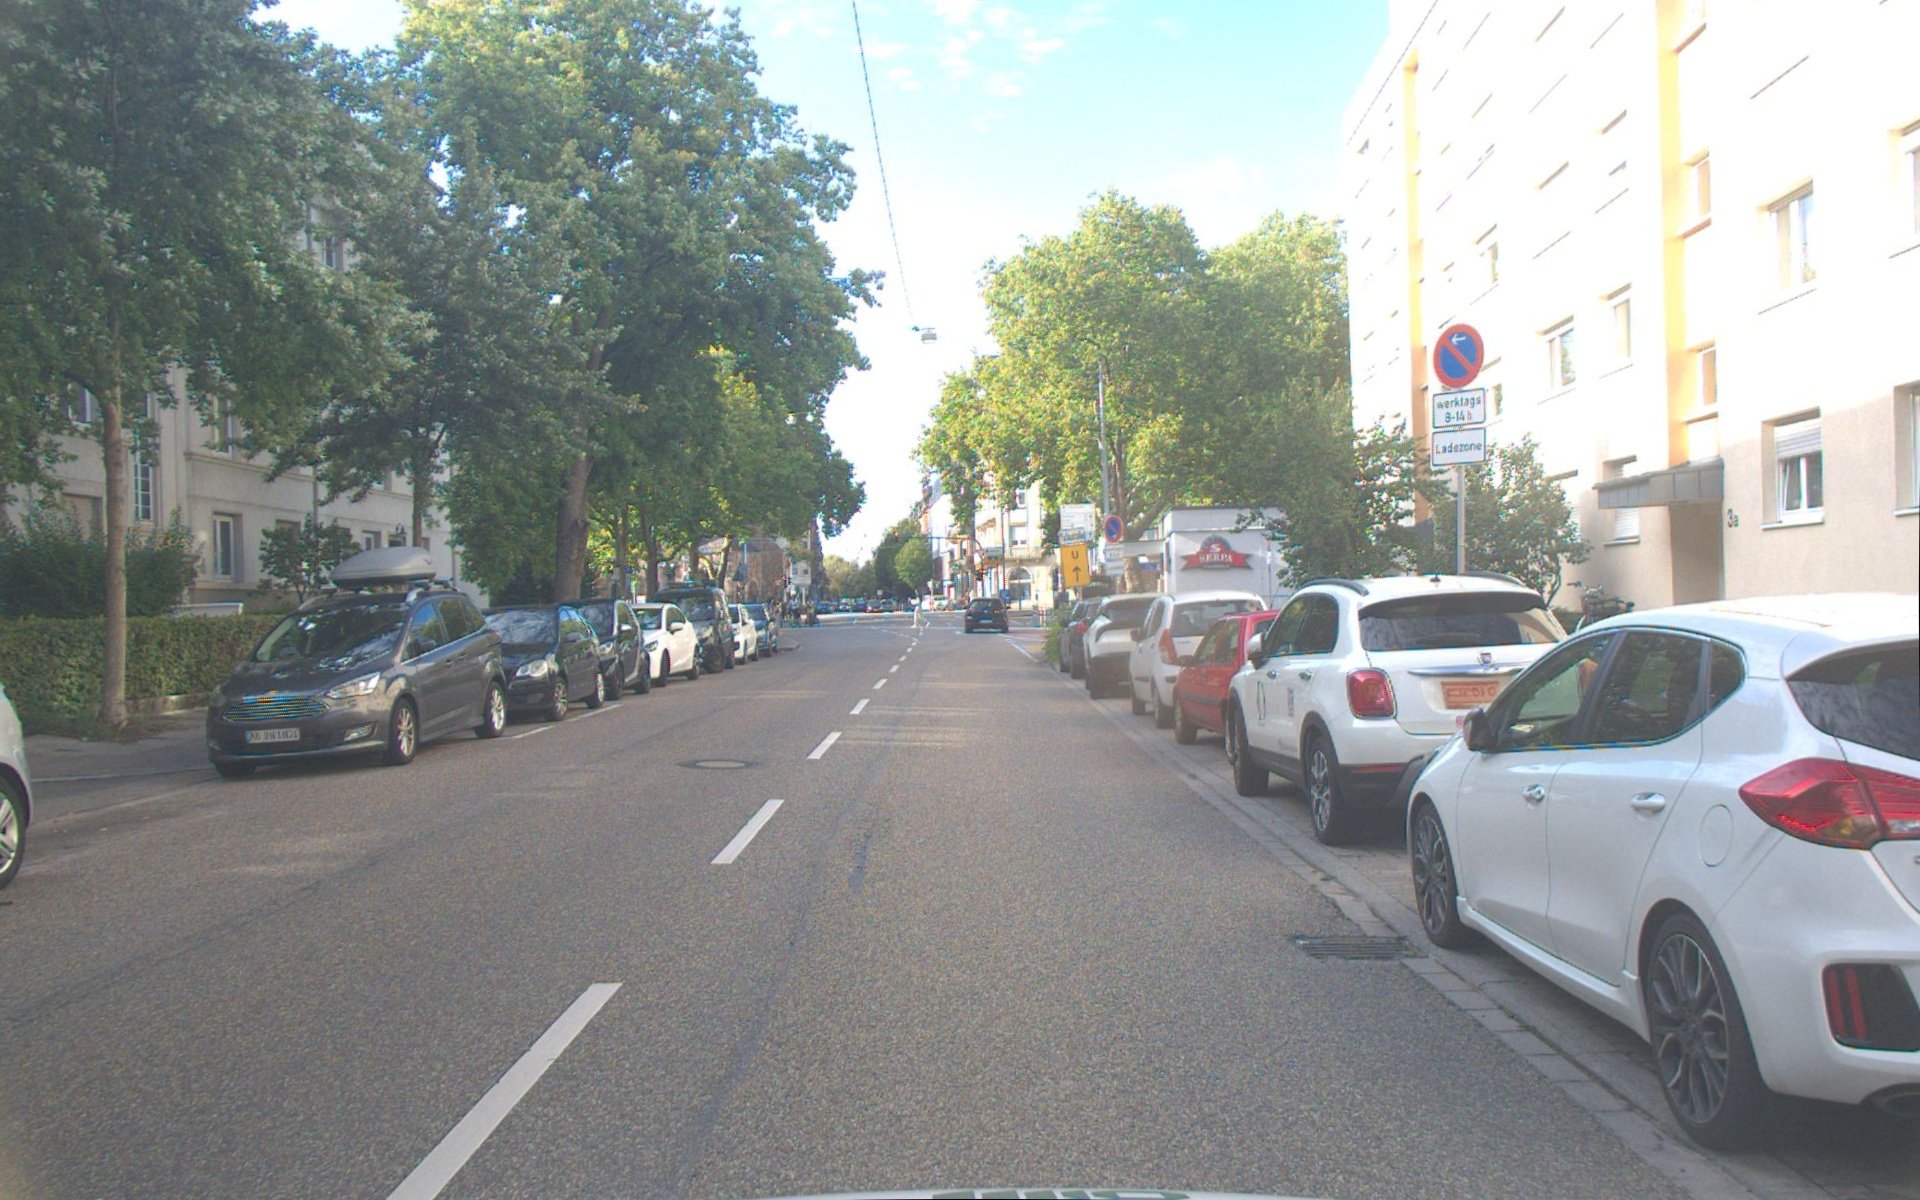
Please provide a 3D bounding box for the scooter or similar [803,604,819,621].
[{"bbox_3d":[-8.443,0.686,93.685,0.789,0.939,1.014,-1,0,-2],"label":"scooter or similar"}]

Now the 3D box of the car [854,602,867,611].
[{"bbox_3d":[-15.051,1.005,250.413,1.742,1.251,3.587,-1,0,-1],"label":"car"}]

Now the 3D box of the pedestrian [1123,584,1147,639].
[{"bbox_3d":[5.369,0.340,50.723,0.639,1.674,0.743,-1,0,0],"label":"pedestrian"}]

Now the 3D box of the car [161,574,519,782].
[{"bbox_3d":[-6.003,0.667,16.669,1.762,1.697,4.483,-4,0,1],"label":"car"}]

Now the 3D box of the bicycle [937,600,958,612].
[{"bbox_3d":[-1.222,0.574,165.423,1.988,1.101,0.628,-2,0,-14],"label":"bicycle"}]

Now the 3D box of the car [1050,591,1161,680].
[{"bbox_3d":[2.757,0.646,32.216,1.656,1.555,4.236,-2,0,-1],"label":"car"}]

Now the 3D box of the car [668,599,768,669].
[{"bbox_3d":[-5.954,0.803,41.101,1.762,1.519,3.803,-4,0,1],"label":"car"}]

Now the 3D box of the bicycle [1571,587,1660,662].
[{"bbox_3d":[10.491,0.377,26.555,0.518,1.134,2.209,-2,0,0],"label":"bicycle"}]

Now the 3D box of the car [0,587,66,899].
[{"bbox_3d":[-5.914,0.812,7.347,1.704,1.648,3.993,-4,0,-2],"label":"car"}]

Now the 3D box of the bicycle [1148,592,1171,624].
[{"bbox_3d":[8.233,0.324,68.241,0.752,1.227,1.816,-3,0,3],"label":"bicycle"}]

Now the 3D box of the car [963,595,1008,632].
[{"bbox_3d":[1.030,0.540,67.824,1.716,1.438,3.999,-1,0,-1],"label":"car"}]

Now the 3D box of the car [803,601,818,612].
[{"bbox_3d":[-19.003,0.818,210.171,1.519,1.251,3.587,-1,0,-1],"label":"car"}]

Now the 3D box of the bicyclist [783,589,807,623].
[{"bbox_3d":[-8.521,0.321,85.482,0.795,1.721,1.113,-1,0,20],"label":"bicyclist"}]

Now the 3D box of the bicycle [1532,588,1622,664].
[{"bbox_3d":[9.883,0.399,26.560,0.585,1.134,2.209,-3,0,0],"label":"bicycle"}]

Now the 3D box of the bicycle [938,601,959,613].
[{"bbox_3d":[-1.183,0.671,164.791,1.988,1.101,0.618,-2,0,-14],"label":"bicycle"}]

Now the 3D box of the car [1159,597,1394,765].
[{"bbox_3d":[3.028,0.720,16.490,1.484,1.422,3.675,-2,0,-2],"label":"car"}]

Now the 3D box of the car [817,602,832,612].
[{"bbox_3d":[-16.339,0.840,199.841,1.519,1.251,3.587,-1,0,-1],"label":"car"}]

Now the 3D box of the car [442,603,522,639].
[{"bbox_3d":[-21.719,0.946,75.268,1.558,1.503,3.707,-1,0,21],"label":"car"}]

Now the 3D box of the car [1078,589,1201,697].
[{"bbox_3d":[2.783,0.623,26.408,1.654,1.555,4.239,-1,0,2],"label":"car"}]

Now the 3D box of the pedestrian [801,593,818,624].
[{"bbox_3d":[-8.420,0.478,92.560,0.797,1.683,1.076,-1,0,-2],"label":"pedestrian"}]

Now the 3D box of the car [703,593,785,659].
[{"bbox_3d":[-5.908,0.681,45.677,1.763,1.648,3.802,-4,0,-2],"label":"car"}]

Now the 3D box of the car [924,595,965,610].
[{"bbox_3d":[-1.586,0.231,167.186,3.911,1.445,1.997,-2,0,-7],"label":"car"}]

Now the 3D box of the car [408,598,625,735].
[{"bbox_3d":[-5.693,0.789,21.690,1.665,1.512,3.848,-4,0,1],"label":"car"}]

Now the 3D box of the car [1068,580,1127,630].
[{"bbox_3d":[4.346,0.145,52.892,1.724,1.436,4.235,-3,0,3],"label":"car"}]

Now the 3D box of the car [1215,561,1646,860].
[{"bbox_3d":[2.974,0.625,11.382,1.693,1.608,4.116,-2,0,-1],"label":"car"}]

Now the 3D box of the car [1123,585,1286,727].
[{"bbox_3d":[2.958,0.634,20.593,1.519,1.584,3.468,-1,0,0],"label":"car"}]

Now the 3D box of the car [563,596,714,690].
[{"bbox_3d":[-5.848,0.735,30.613,1.659,1.519,4.334,-3,0,3],"label":"car"}]

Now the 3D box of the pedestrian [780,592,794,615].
[{"bbox_3d":[-13.129,0.269,125.642,0.764,1.691,0.779,-1,0,19],"label":"pedestrian"}]

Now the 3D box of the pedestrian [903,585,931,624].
[{"bbox_3d":[-1.995,0.196,76.598,1.057,1.784,0.915,0,0,-17],"label":"pedestrian"}]

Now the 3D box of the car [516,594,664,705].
[{"bbox_3d":[-5.794,0.738,26.224,1.521,1.546,3.017,-4,0,1],"label":"car"}]

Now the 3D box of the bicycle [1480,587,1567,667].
[{"bbox_3d":[9.080,0.417,26.741,0.585,1.207,2.209,-4,0,0],"label":"bicycle"}]

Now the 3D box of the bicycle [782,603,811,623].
[{"bbox_3d":[-8.457,0.677,85.604,0.745,1.011,1.927,-1,0,18],"label":"bicycle"}]

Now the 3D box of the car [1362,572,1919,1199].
[{"bbox_3d":[2.870,0.688,6.072,1.693,1.513,4.642,-2,0,1],"label":"car"}]

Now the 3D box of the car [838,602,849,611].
[{"bbox_3d":[-18.149,0.993,258.178,1.519,1.251,3.587,-1,0,-1],"label":"car"}]

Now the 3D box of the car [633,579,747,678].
[{"bbox_3d":[-5.775,0.576,35.813,1.688,1.915,4.191,-3,0,0],"label":"car"}]
